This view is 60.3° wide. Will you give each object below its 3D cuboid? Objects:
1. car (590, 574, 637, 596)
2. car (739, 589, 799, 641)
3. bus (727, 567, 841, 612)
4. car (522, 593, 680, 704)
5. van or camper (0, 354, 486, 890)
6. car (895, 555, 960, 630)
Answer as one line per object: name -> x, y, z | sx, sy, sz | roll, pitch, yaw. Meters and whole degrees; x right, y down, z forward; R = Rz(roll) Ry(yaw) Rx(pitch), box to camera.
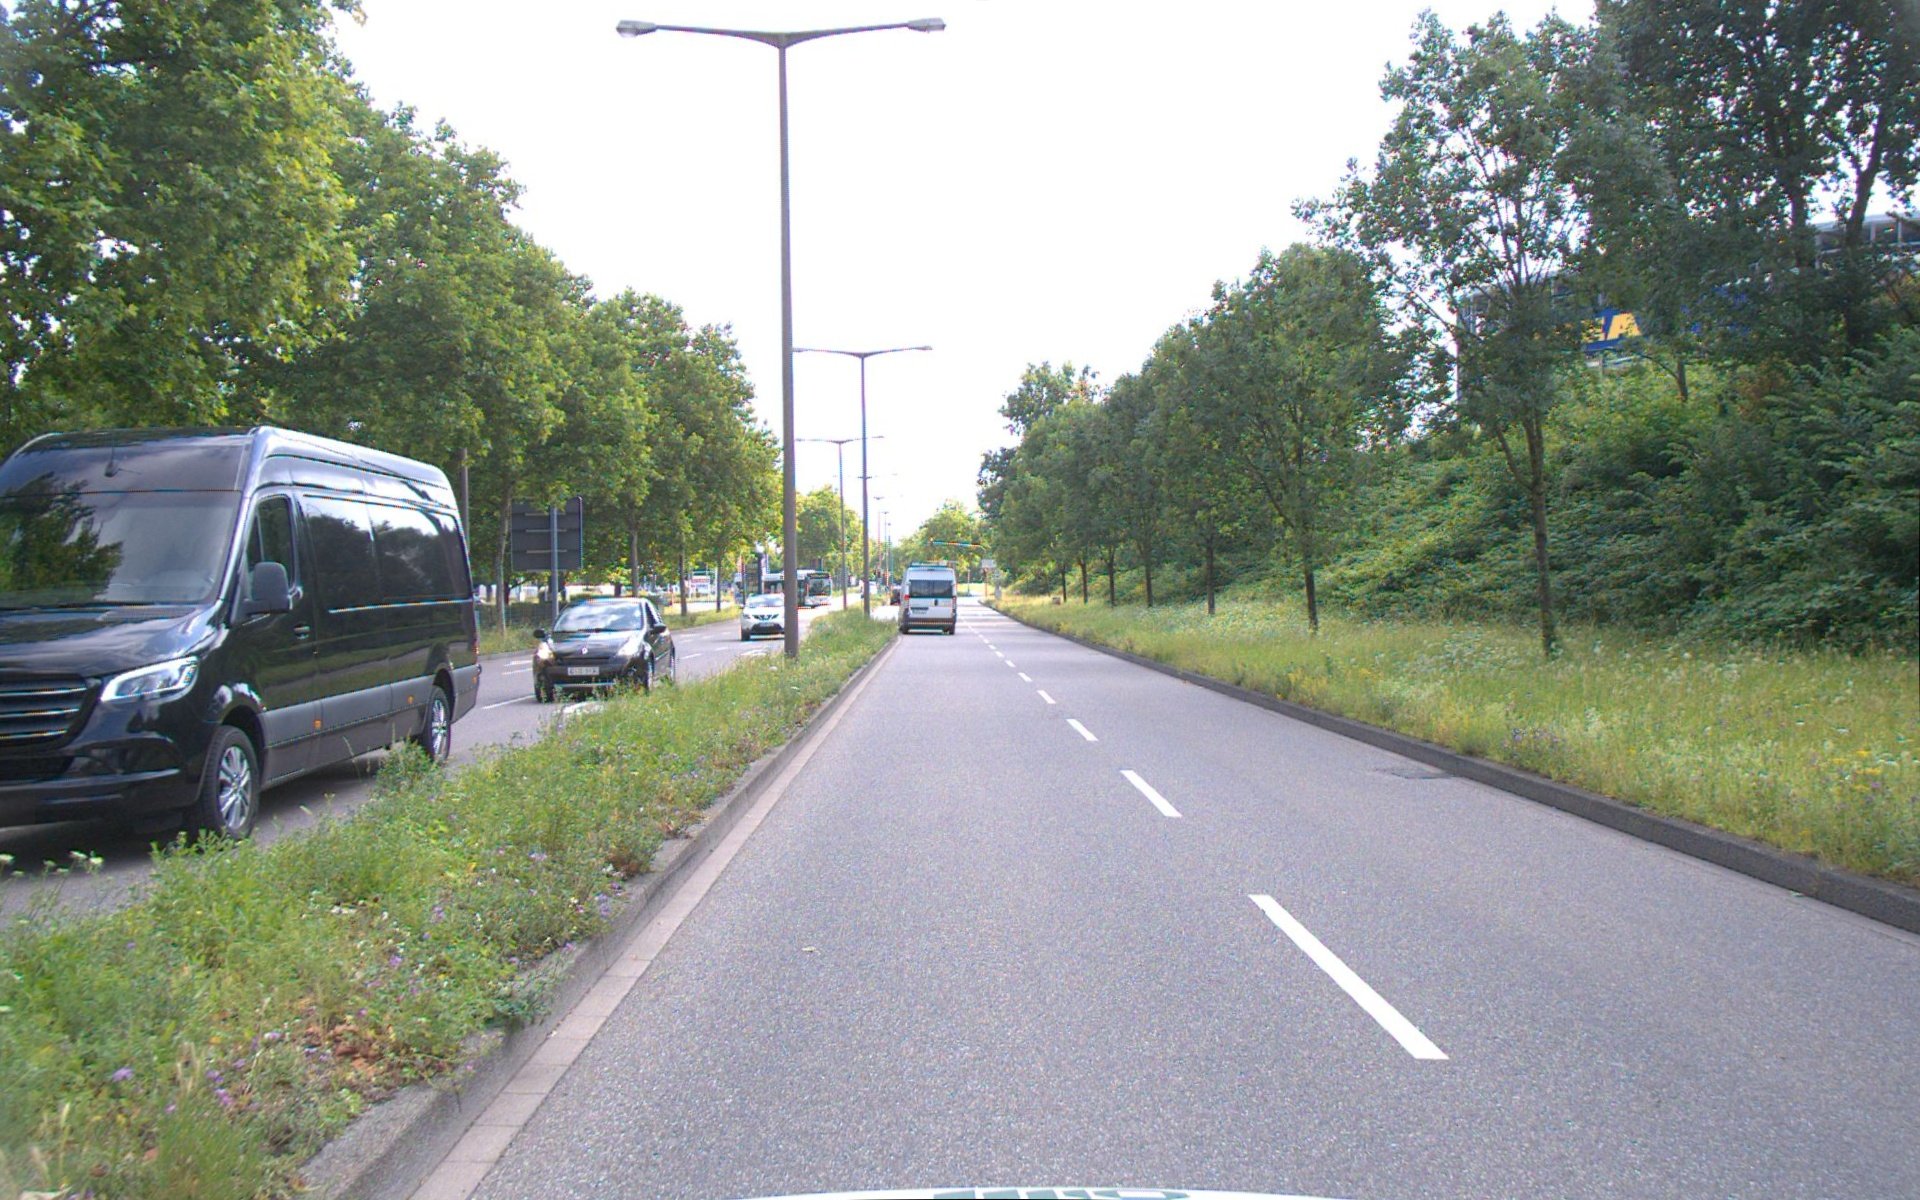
car -> -32.376, -1.401, 154.664 | 3.963, 1.870, 1.837 | 2, -4, -41
car -> -6.732, 0.494, 58.632 | 1.778, 1.668, 4.349 | -3, 0, -3
bus -> -14.885, -0.824, 138.818 | 3.092, 3.331, 12.154 | -2, 0, -40
car -> -5.333, 0.685, 25.009 | 1.660, 1.489, 3.939 | -2, 0, -3
van or camper -> -5.259, 0.120, 11.774 | 2.062, 2.706, 6.714 | -2, 0, -3
car -> -1.307, -0.327, 63.930 | 2.154, 2.773, 4.927 | 1, 1, -5
